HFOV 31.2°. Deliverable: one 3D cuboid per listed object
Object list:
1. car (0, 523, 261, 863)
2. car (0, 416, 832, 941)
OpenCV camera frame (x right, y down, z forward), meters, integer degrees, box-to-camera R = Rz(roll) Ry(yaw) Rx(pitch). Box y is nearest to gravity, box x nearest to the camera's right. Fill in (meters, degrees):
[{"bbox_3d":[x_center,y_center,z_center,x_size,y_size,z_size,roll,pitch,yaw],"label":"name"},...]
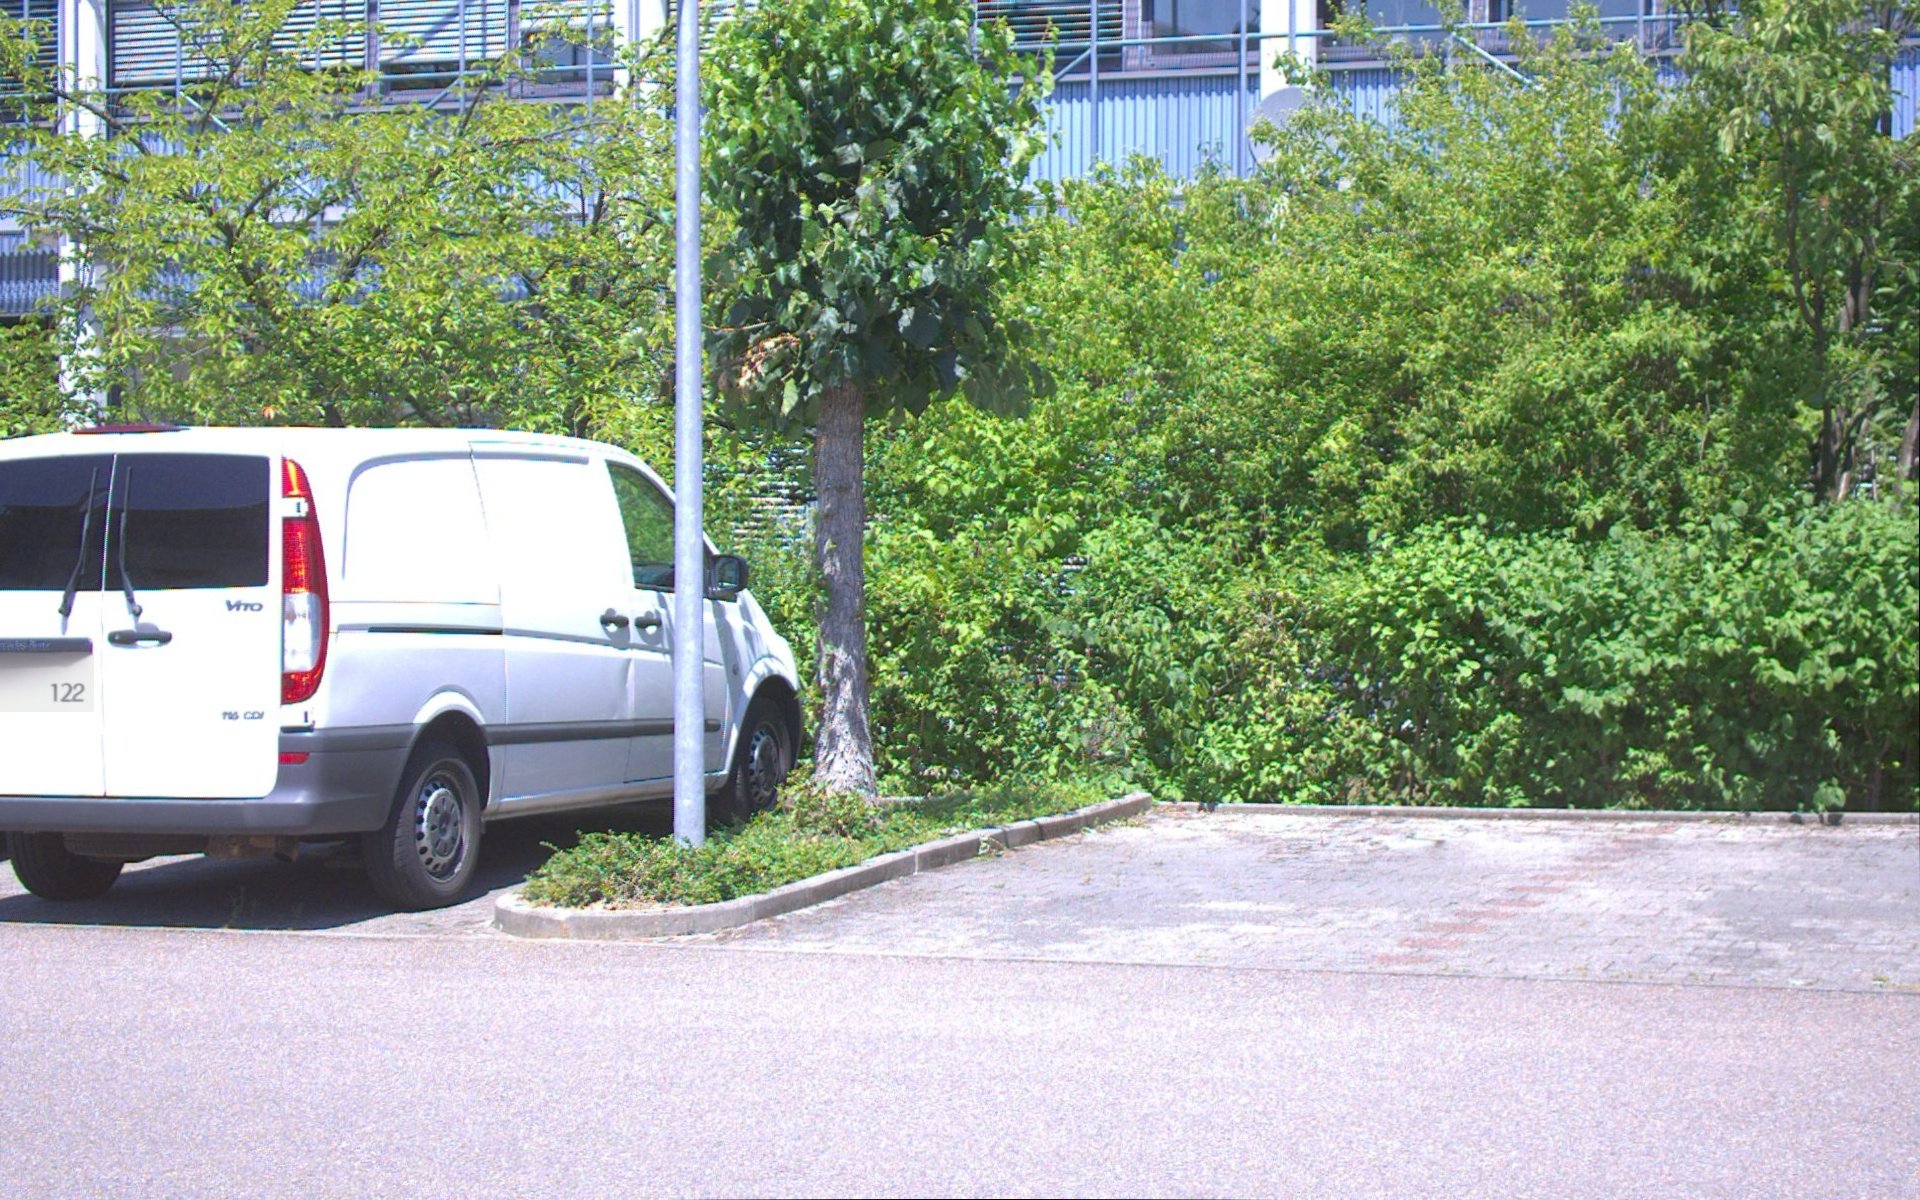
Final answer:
[{"bbox_3d":[-4.991,0.421,16.367,1.755,1.471,3.998,-1,2,12],"label":"car"},{"bbox_3d":[-2.383,0.201,14.983,1.915,1.898,4.803,-1,2,20],"label":"car"}]
